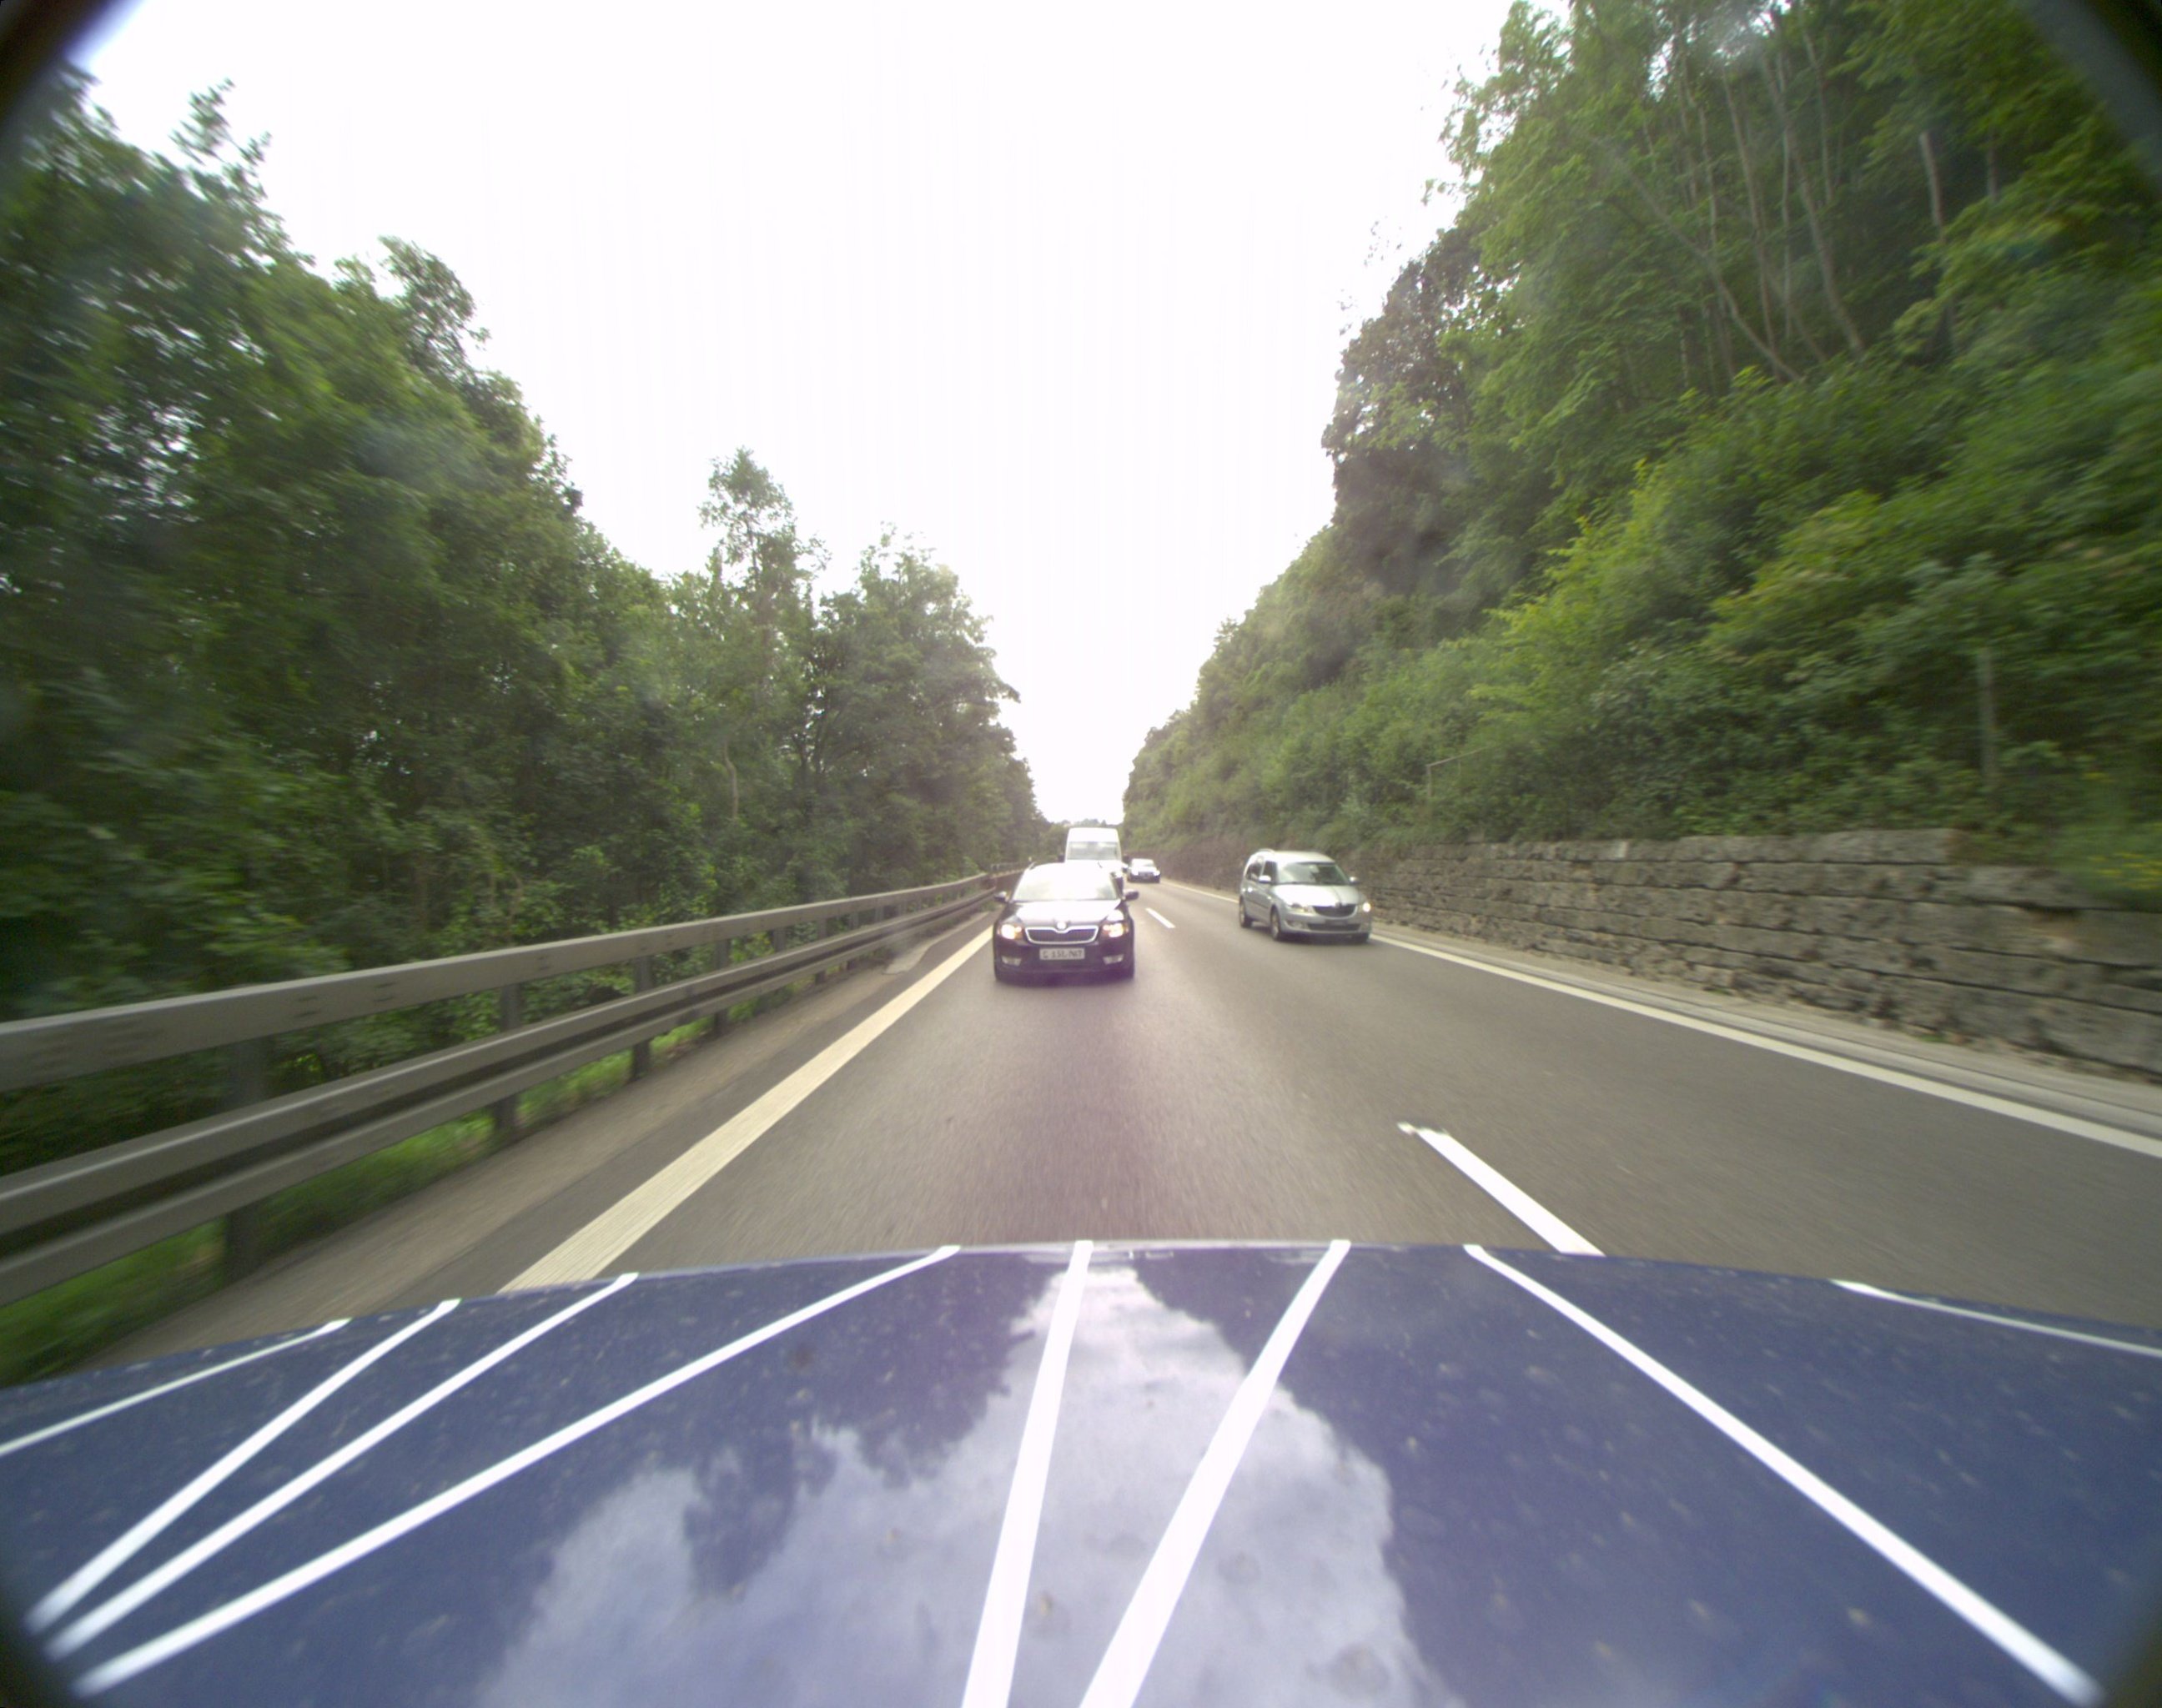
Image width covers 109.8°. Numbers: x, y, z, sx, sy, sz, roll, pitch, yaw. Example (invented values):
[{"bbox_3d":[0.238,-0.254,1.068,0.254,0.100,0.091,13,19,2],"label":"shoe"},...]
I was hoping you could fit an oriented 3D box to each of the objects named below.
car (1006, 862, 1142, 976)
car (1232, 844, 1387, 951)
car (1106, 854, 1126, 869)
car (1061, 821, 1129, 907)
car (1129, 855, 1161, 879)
[{"bbox_3d":[-0.153,0.883,12.254,1.751,1.409,4.400,-2,0,-2],"label":"car"},{"bbox_3d":[4.133,0.698,14.496,1.638,1.716,4.344,1,0,0],"label":"car"},{"bbox_3d":[3.718,0.787,80.830,1.840,1.460,4.555,2,0,0],"label":"car"},{"bbox_3d":[0.409,0.292,25.675,2.001,2.545,5.127,2,0,0],"label":"car"},{"bbox_3d":[4.104,0.806,49.330,1.765,1.455,5.123,2,0,2],"label":"car"}]
